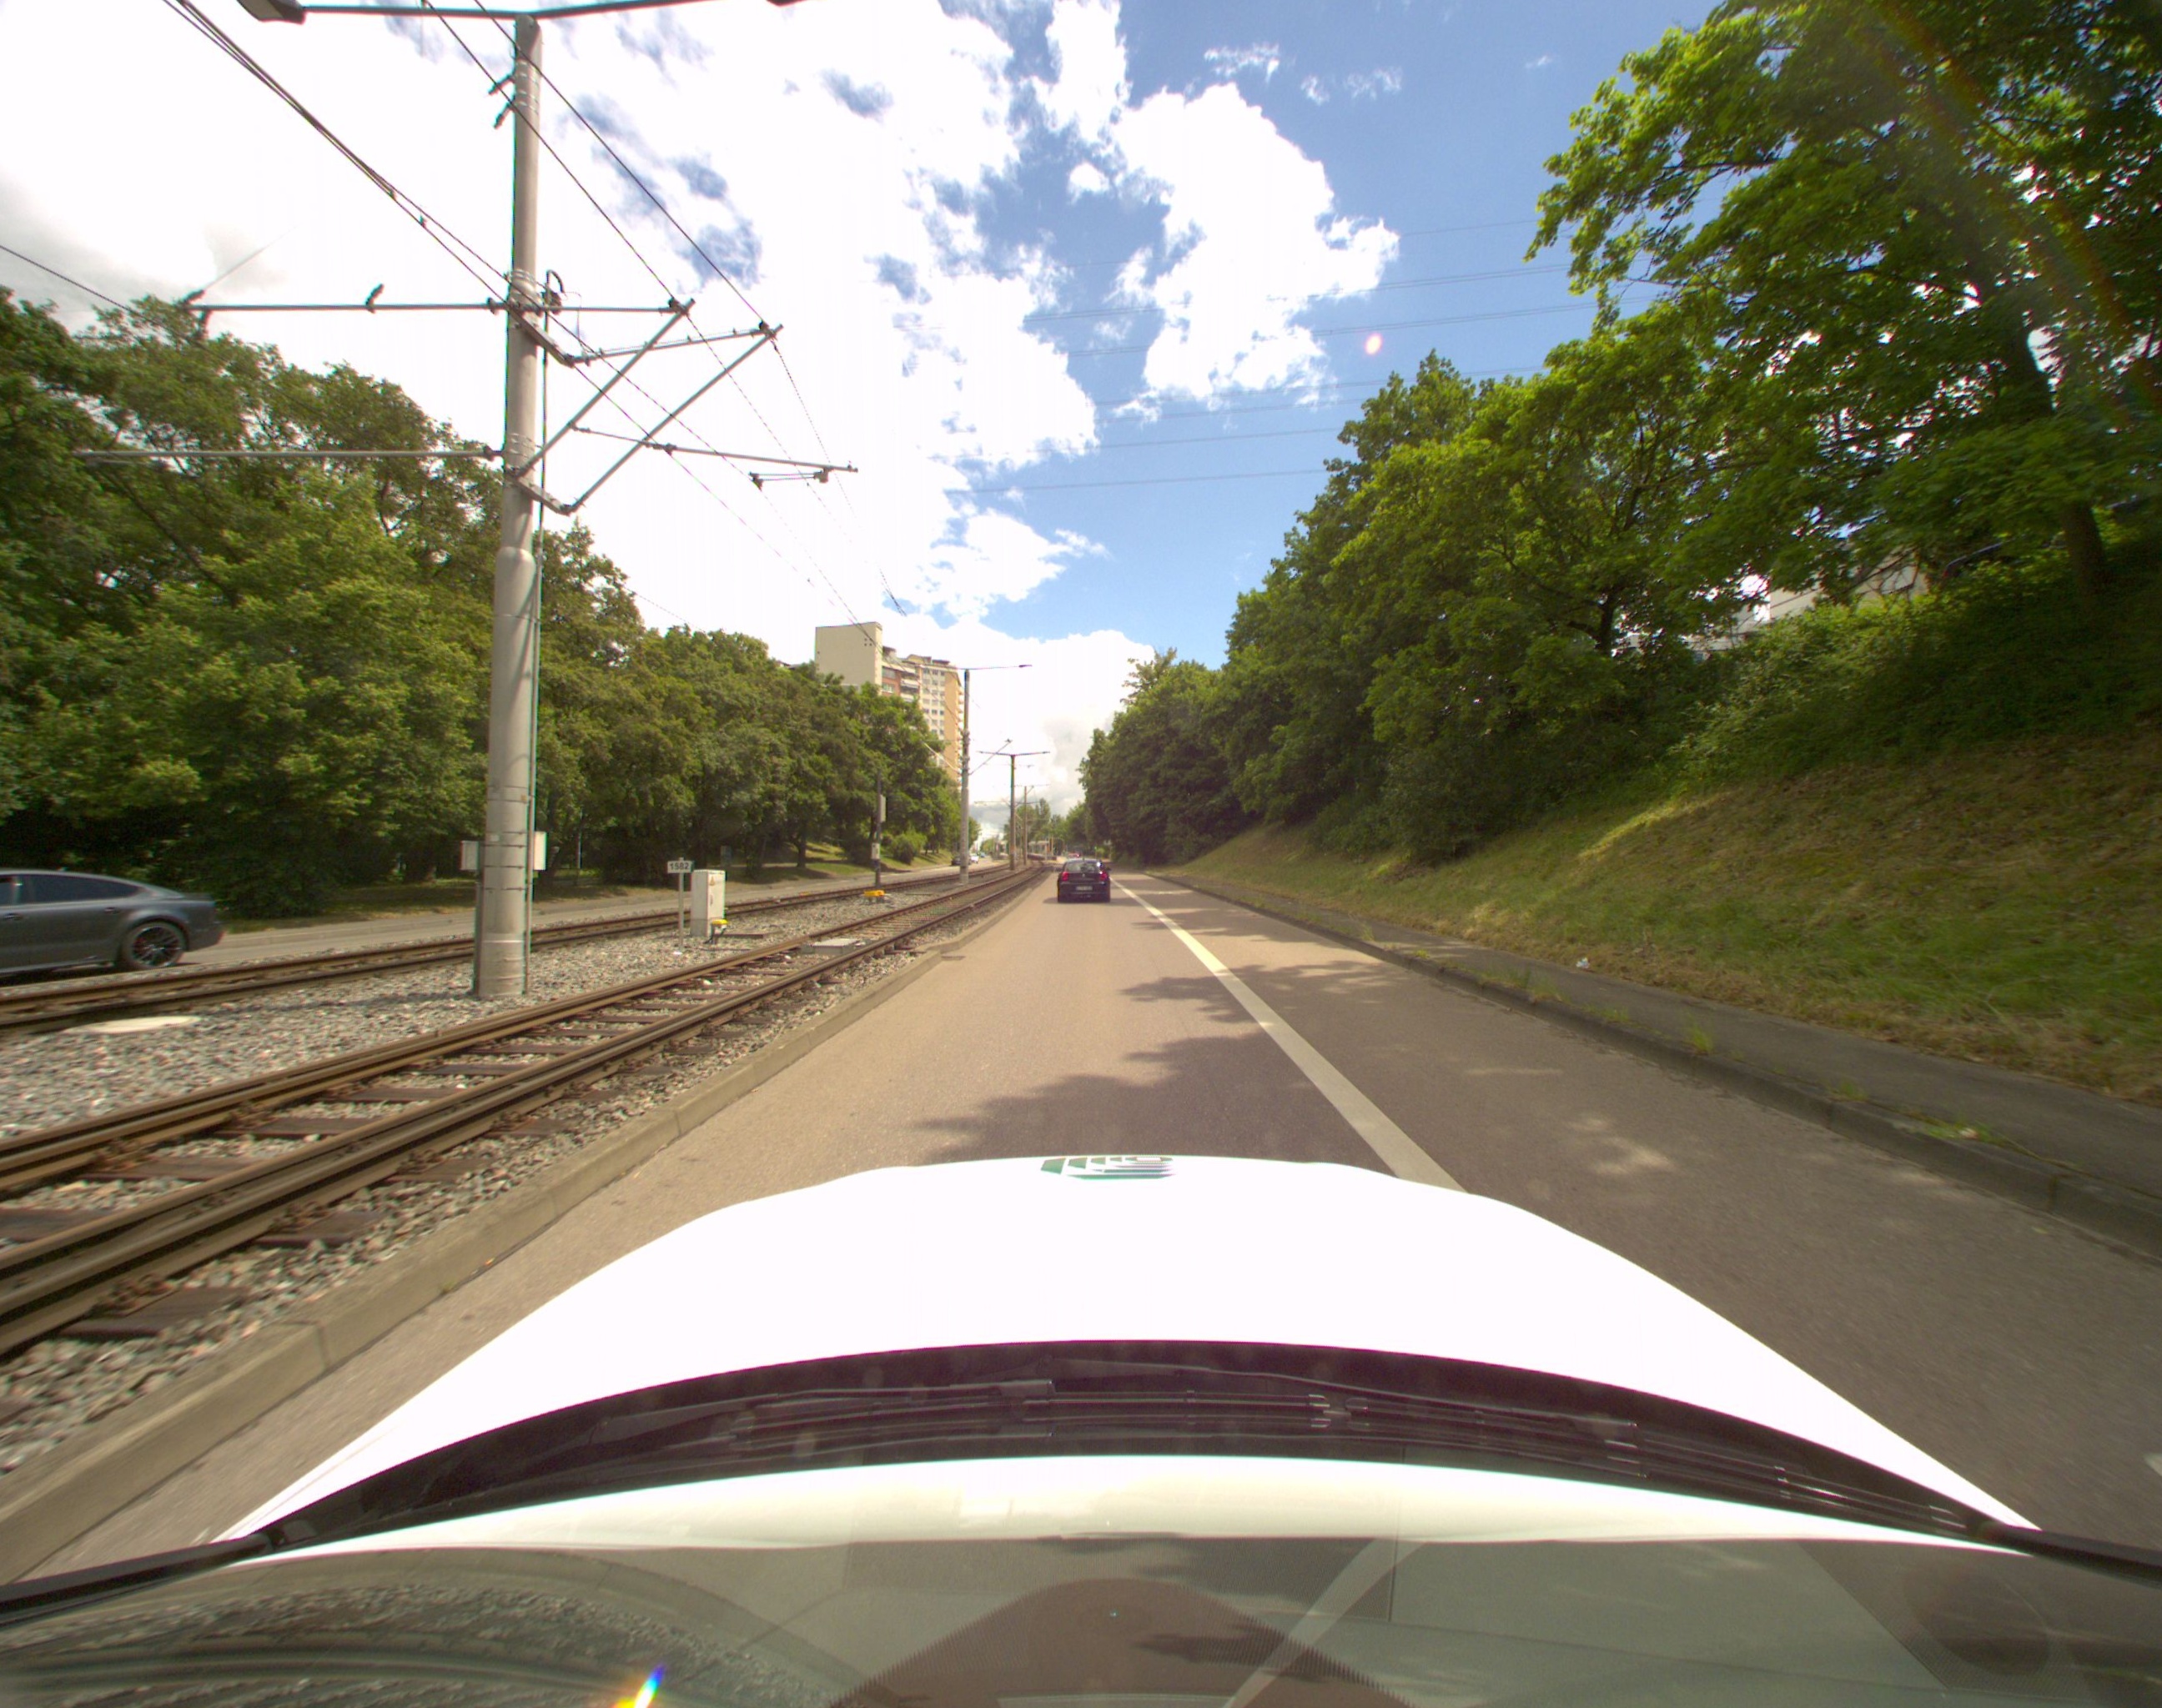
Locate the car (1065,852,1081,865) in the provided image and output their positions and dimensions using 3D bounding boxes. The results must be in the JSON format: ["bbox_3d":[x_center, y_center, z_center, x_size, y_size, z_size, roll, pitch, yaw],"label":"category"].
[{"bbox_3d":[-1.045,0.536,100.272,1.778,1.459,3.916,0,0,-4],"label":"car"}]

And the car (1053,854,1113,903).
[{"bbox_3d":[0.008,0.763,27.330,1.777,1.459,3.916,-1,0,-3],"label":"car"}]

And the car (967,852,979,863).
[{"bbox_3d":[-16.521,0.553,124.456,1.779,1.532,4.235,-1,0,-7],"label":"car"}]

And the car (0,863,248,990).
[{"bbox_3d":[-13.178,0.875,9.461,1.828,1.391,4.865,-2,0,2],"label":"car"}]

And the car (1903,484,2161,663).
[{"bbox_3d":[16.267,-4.434,13.318,1.638,1.687,4.045,0,0,1],"label":"car"}]

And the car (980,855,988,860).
[{"bbox_3d":[-25.558,0.861,213.578,1.717,1.442,3.926,0,0,-12],"label":"car"}]

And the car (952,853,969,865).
[{"bbox_3d":[-14.876,0.597,100.719,1.771,1.498,3.992,0,0,-4],"label":"car"}]

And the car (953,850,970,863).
[{"bbox_3d":[-15.763,0.383,107.612,1.771,1.630,4.376,-1,-1,-4],"label":"car"}]
